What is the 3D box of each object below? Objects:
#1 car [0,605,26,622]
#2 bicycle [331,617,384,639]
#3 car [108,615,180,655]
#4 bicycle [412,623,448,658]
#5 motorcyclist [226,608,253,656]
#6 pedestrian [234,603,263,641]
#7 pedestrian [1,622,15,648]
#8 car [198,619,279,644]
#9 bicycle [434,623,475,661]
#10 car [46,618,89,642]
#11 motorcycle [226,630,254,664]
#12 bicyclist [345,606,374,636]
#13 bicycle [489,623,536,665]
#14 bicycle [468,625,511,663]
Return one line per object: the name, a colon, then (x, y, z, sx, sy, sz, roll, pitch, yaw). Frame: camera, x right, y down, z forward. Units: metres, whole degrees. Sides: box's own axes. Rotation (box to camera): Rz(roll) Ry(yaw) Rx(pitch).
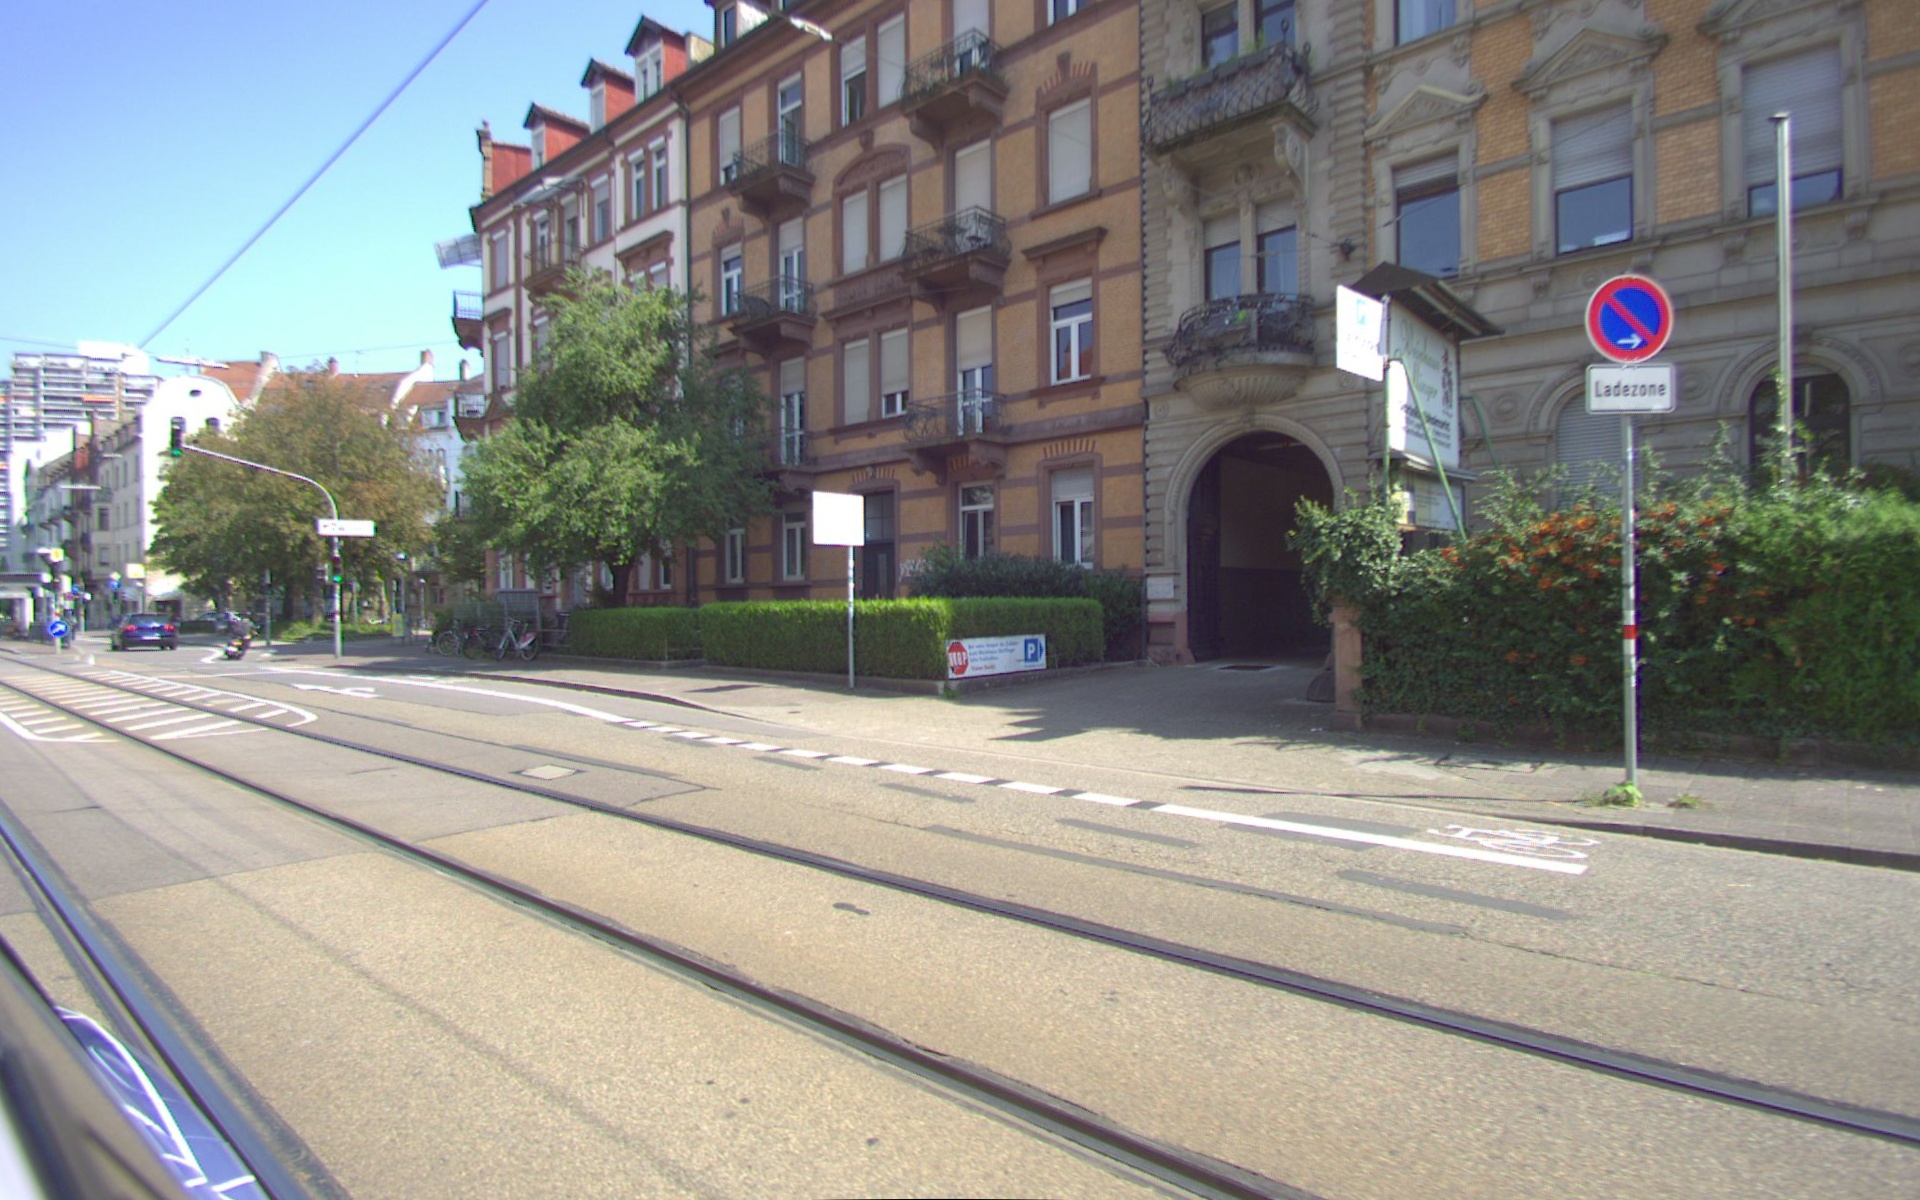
car: (-100.427, 1.454, 107.049, 4.630, 1.739, 1.972, -1, -1, 43)
bicycle: (-41.600, 1.907, 69.889, 3.458, 1.447, 1.215, -1, 0, 20)
car: (-32.125, 1.341, 39.796, 4.178, 1.444, 1.707, -1, 0, 44)
bicycle: (-16.687, 1.263, 31.922, 0.481, 1.005, 1.834, -1, 0, -11)
motorcyclist: (-23.587, 1.028, 33.146, 0.680, 1.523, 0.775, -1, 0, -34)
pedestrian: (-39.410, 1.232, 56.061, 1.036, 2.028, 1.080, -1, 1, 41)
pedestrian: (-47.712, 1.743, 50.707, 0.648, 1.260, 0.473, -2, -1, 43)
car: (-53.251, 2.322, 74.769, 4.561, 1.739, 2.002, -1, -1, -4)
bicycle: (-14.254, 1.176, 28.529, 0.482, 1.029, 1.779, -1, 0, -45)
car: (-67.341, 2.222, 76.304, 4.630, 1.739, 1.972, -1, -1, 43)
motorcycle: (-23.609, 1.531, 33.193, 0.682, 1.039, 2.163, -1, 0, -34)
bicyclist: (-41.424, 1.456, 69.837, 1.203, 2.029, 1.201, 0, 0, 20)
bicycle: (-11.116, 1.088, 25.135, 0.482, 0.994, 1.658, -1, 0, -45)
bicycle: (-12.282, 1.144, 26.407, 0.482, 0.949, 1.658, -1, 0, -45)
